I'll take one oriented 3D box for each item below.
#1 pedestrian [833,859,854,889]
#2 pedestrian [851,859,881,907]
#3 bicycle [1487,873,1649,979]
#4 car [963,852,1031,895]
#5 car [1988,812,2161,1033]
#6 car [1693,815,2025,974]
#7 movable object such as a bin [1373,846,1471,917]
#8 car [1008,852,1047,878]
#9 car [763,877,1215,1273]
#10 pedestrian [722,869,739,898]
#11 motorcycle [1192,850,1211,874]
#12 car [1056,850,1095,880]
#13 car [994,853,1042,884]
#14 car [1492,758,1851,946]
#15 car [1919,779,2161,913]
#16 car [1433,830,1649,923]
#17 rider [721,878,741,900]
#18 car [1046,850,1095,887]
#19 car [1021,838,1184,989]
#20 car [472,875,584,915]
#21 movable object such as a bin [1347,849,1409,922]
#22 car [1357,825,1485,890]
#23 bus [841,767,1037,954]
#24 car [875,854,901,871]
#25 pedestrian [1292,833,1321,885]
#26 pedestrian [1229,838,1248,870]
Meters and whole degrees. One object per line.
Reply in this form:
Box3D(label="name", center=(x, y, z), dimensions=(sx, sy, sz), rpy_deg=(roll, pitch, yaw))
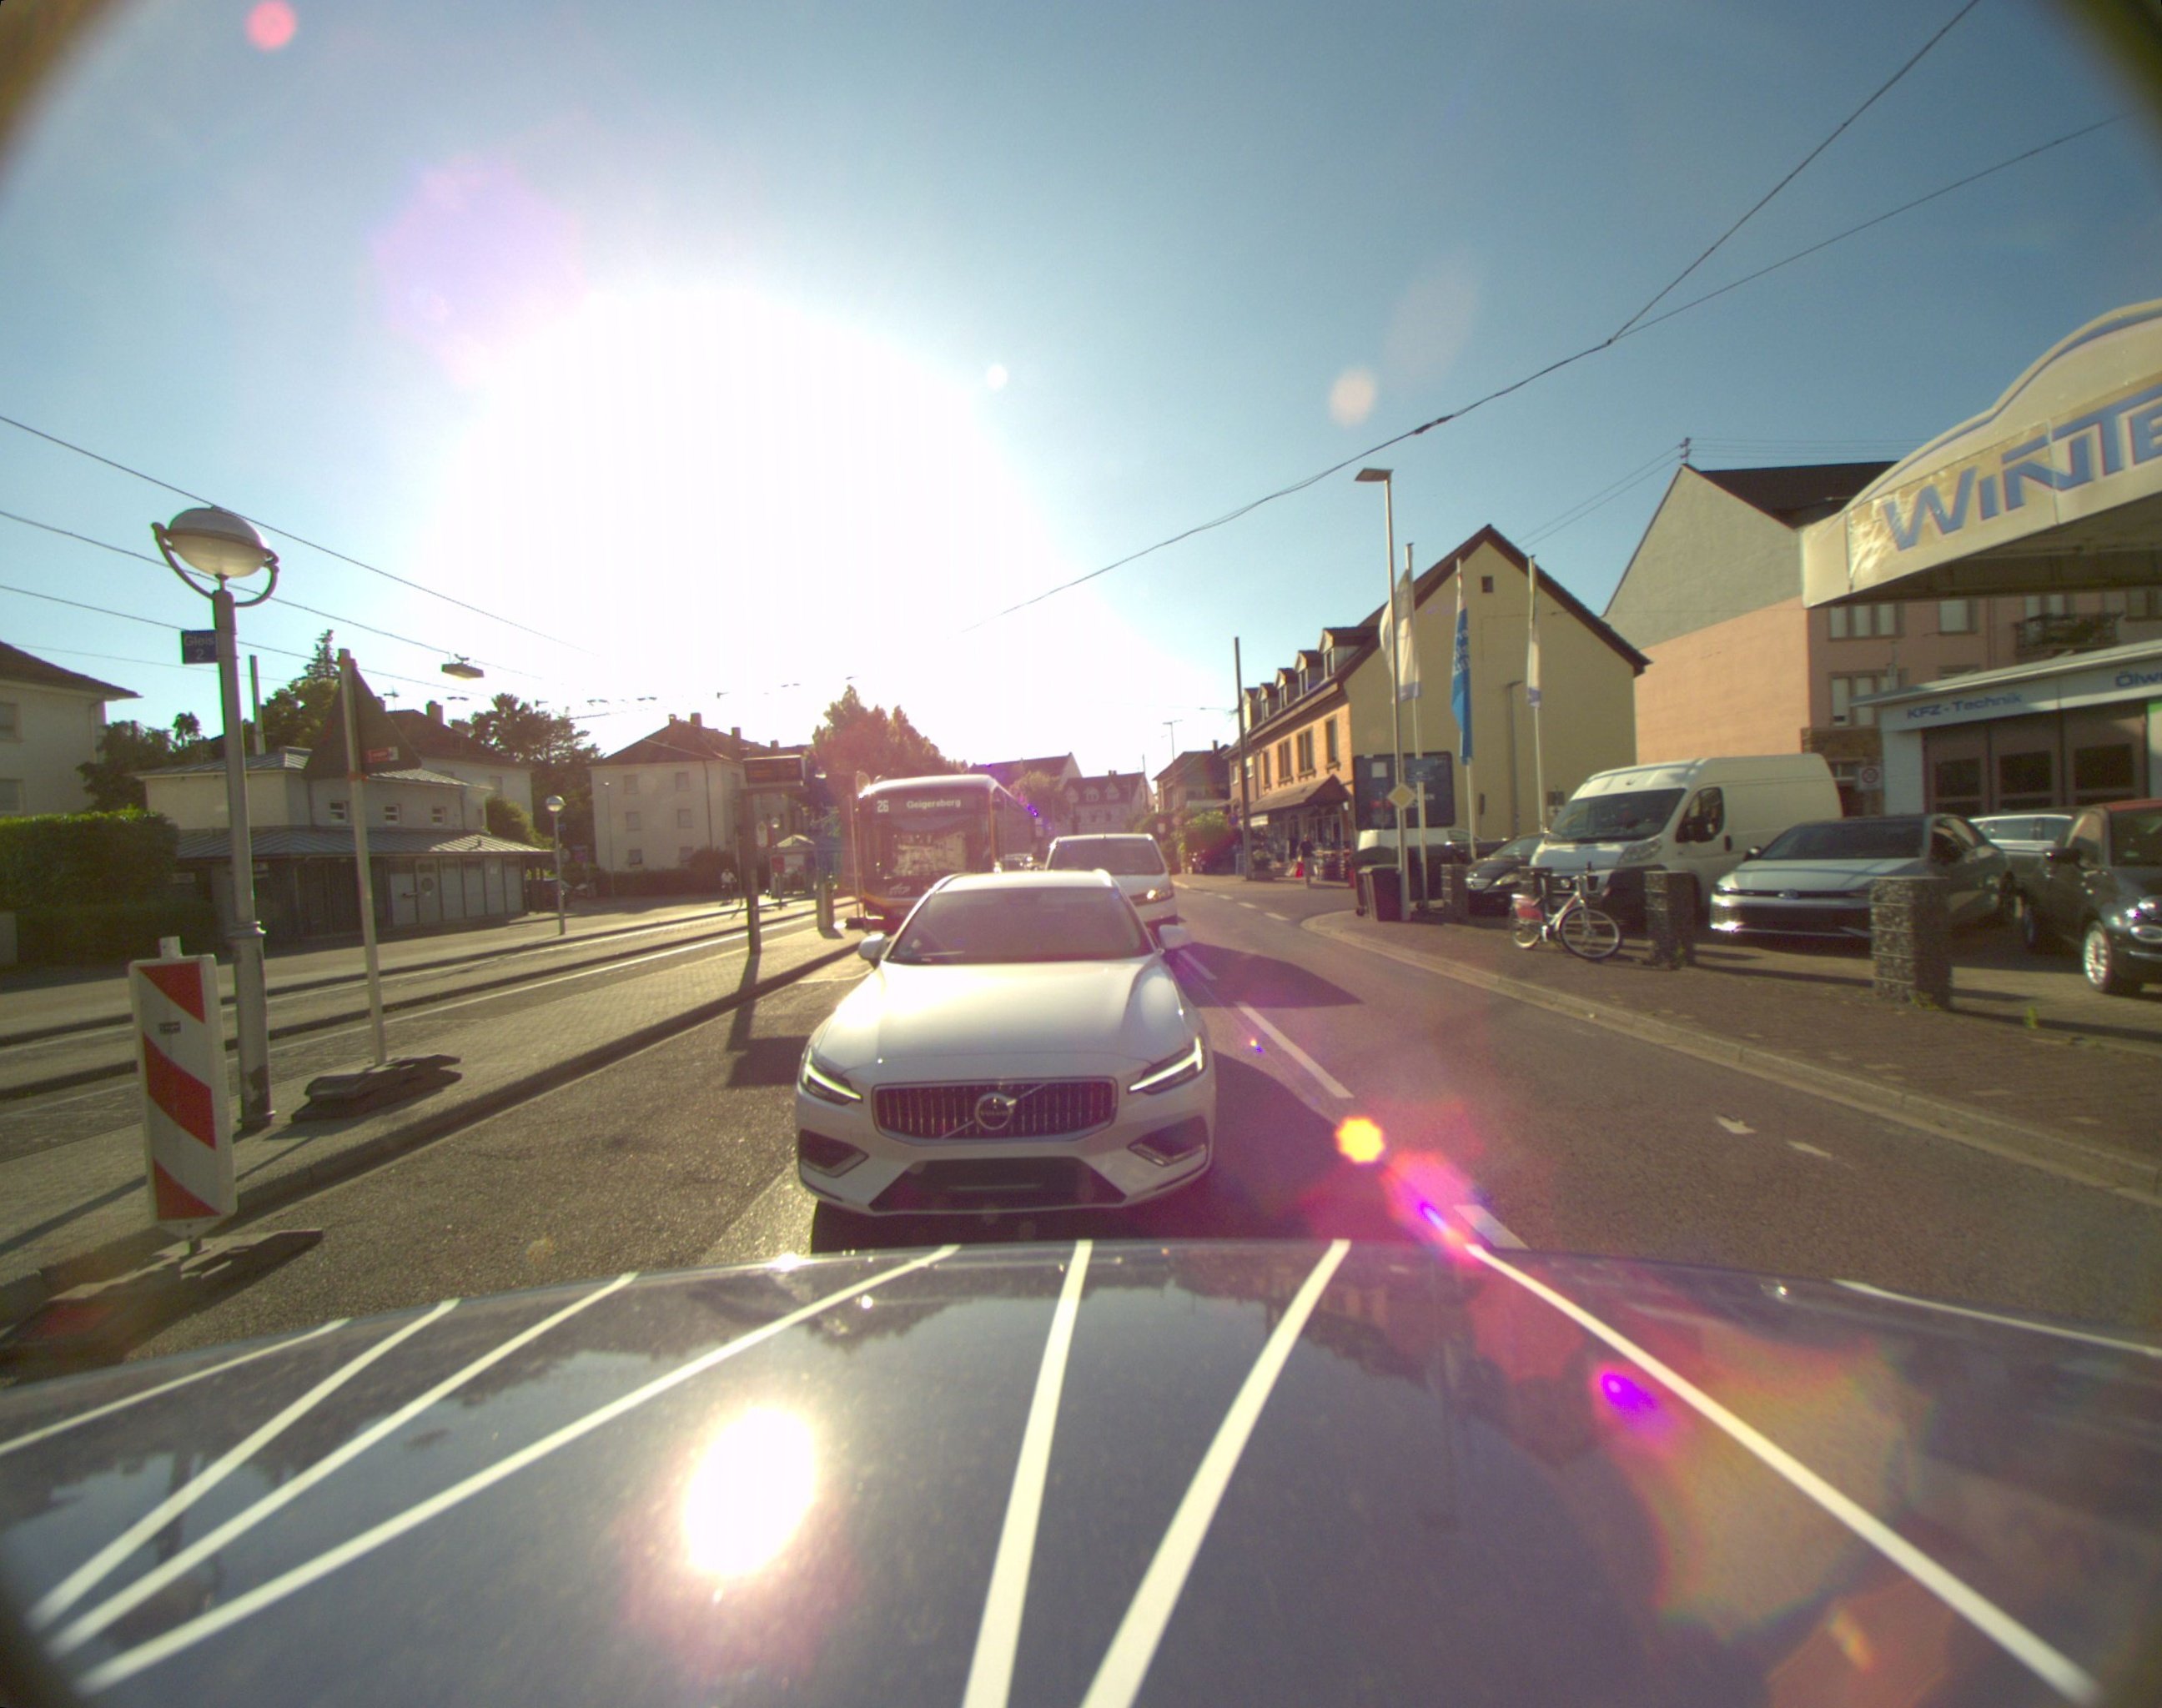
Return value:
Box3D(label="pedestrian", center=(-13.227, 1.123, 42.353), dimensions=(0.842, 1.601, 0.825), rpy_deg=(-2, 1, -1))
Box3D(label="pedestrian", center=(-7.915, 1.045, 28.019), dimensions=(0.842, 1.708, 0.825), rpy_deg=(-2, 1, -3))
Box3D(label="bicycle", center=(5.881, 0.818, 9.322), dimensions=(0.725, 1.080, 1.791), rpy_deg=(-3, 1, -3))
Box3D(label="car", center=(-3.154, 0.706, 29.508), dimensions=(1.969, 1.450, 4.824), rpy_deg=(-2, 0, 1))
Box3D(label="car", center=(9.076, 0.416, 6.173), dimensions=(1.590, 1.488, 3.442), rpy_deg=(-2, 1, 40))
Box3D(label="car", center=(9.489, 0.363, 9.220), dimensions=(4.036, 1.488, 1.739), rpy_deg=(-3, 1, -28))
Box3D(label="movable object such as a bin", center=(7.592, 0.582, 16.922), dimensions=(1.798, 1.456, 1.046), rpy_deg=(-3, 1, -25))
Box3D(label="car", center=(-3.275, 0.631, 47.311), dimensions=(1.969, 1.450, 4.824), rpy_deg=(-2, 0, 1))
Box3D(label="car", center=(-0.353, 0.985, 5.264), dimensions=(1.821, 1.446, 4.217), rpy_deg=(-2, 0, 1))
Box3D(label="pedestrian", center=(-17.154, 1.456, 37.171), dimensions=(0.581, 1.373, 0.657), rpy_deg=(-3, 1, -33))
Box3D(label="motorcycle", center=(6.350, 0.419, 40.128), dimensions=(0.708, 1.210, 2.186), rpy_deg=(-2, 1, 3))
Box3D(label="car", center=(-0.256, 0.567, 41.516), dimensions=(1.969, 1.450, 4.824), rpy_deg=(-2, 0, 1))
Box3D(label="car", center=(-3.232, 0.706, 39.897), dimensions=(1.969, 1.450, 4.824), rpy_deg=(-2, 0, 1))
Box3D(label="car", center=(9.142, -0.131, 11.769), dimensions=(4.997, 2.440, 2.111), rpy_deg=(-3, 1, -22))
Box3D(label="car", center=(16.480, -0.168, 11.997), dimensions=(1.742, 1.933, 4.257), rpy_deg=(-3, 1, -1))
Box3D(label="car", center=(8.966, 0.377, 14.755), dimensions=(4.036, 1.469, 1.739), rpy_deg=(-3, 1, -28))
Box3D(label="rider", center=(-17.151, 1.711, 37.186), dimensions=(0.581, 0.986, 1.853), rpy_deg=(-3, 1, -33))
Box3D(label="car", center=(-0.394, 0.584, 33.268), dimensions=(1.969, 1.450, 4.824), rpy_deg=(-2, 0, 1))
Box3D(label="car", center=(0.302, 0.736, 12.018), dimensions=(1.969, 1.816, 5.033), rpy_deg=(-2, 0, 1))
Box3D(label="car", center=(-27.691, 2.045, 38.144), dimensions=(4.052, 1.663, 2.000), rpy_deg=(-4, 1, 2))
Box3D(label="movable object such as a bin", center=(6.235, 0.645, 15.959), dimensions=(1.045, 1.456, 0.797), rpy_deg=(-2, 1, 32))
Box3D(label="car", center=(11.563, 0.101, 25.931), dimensions=(3.672, 2.002, 1.451), rpy_deg=(-2, 1, -3))
Box3D(label="bus", center=(-2.921, 0.096, 19.841), dimensions=(2.748, 3.284, 12.030), rpy_deg=(-2, 0, 0))
Box3D(label="car", center=(-23.268, 1.013, 91.778), dimensions=(1.998, 1.853, 3.999), rpy_deg=(-2, 1, 1))
Box3D(label="pedestrian", center=(8.300, 0.184, 27.973), dimensions=(0.822, 1.842, 0.767), rpy_deg=(-2, 1, 3))
Box3D(label="pedestrian", center=(8.644, 0.018, 41.681), dimensions=(0.809, 1.703, 0.859), rpy_deg=(-2, 1, 2))
